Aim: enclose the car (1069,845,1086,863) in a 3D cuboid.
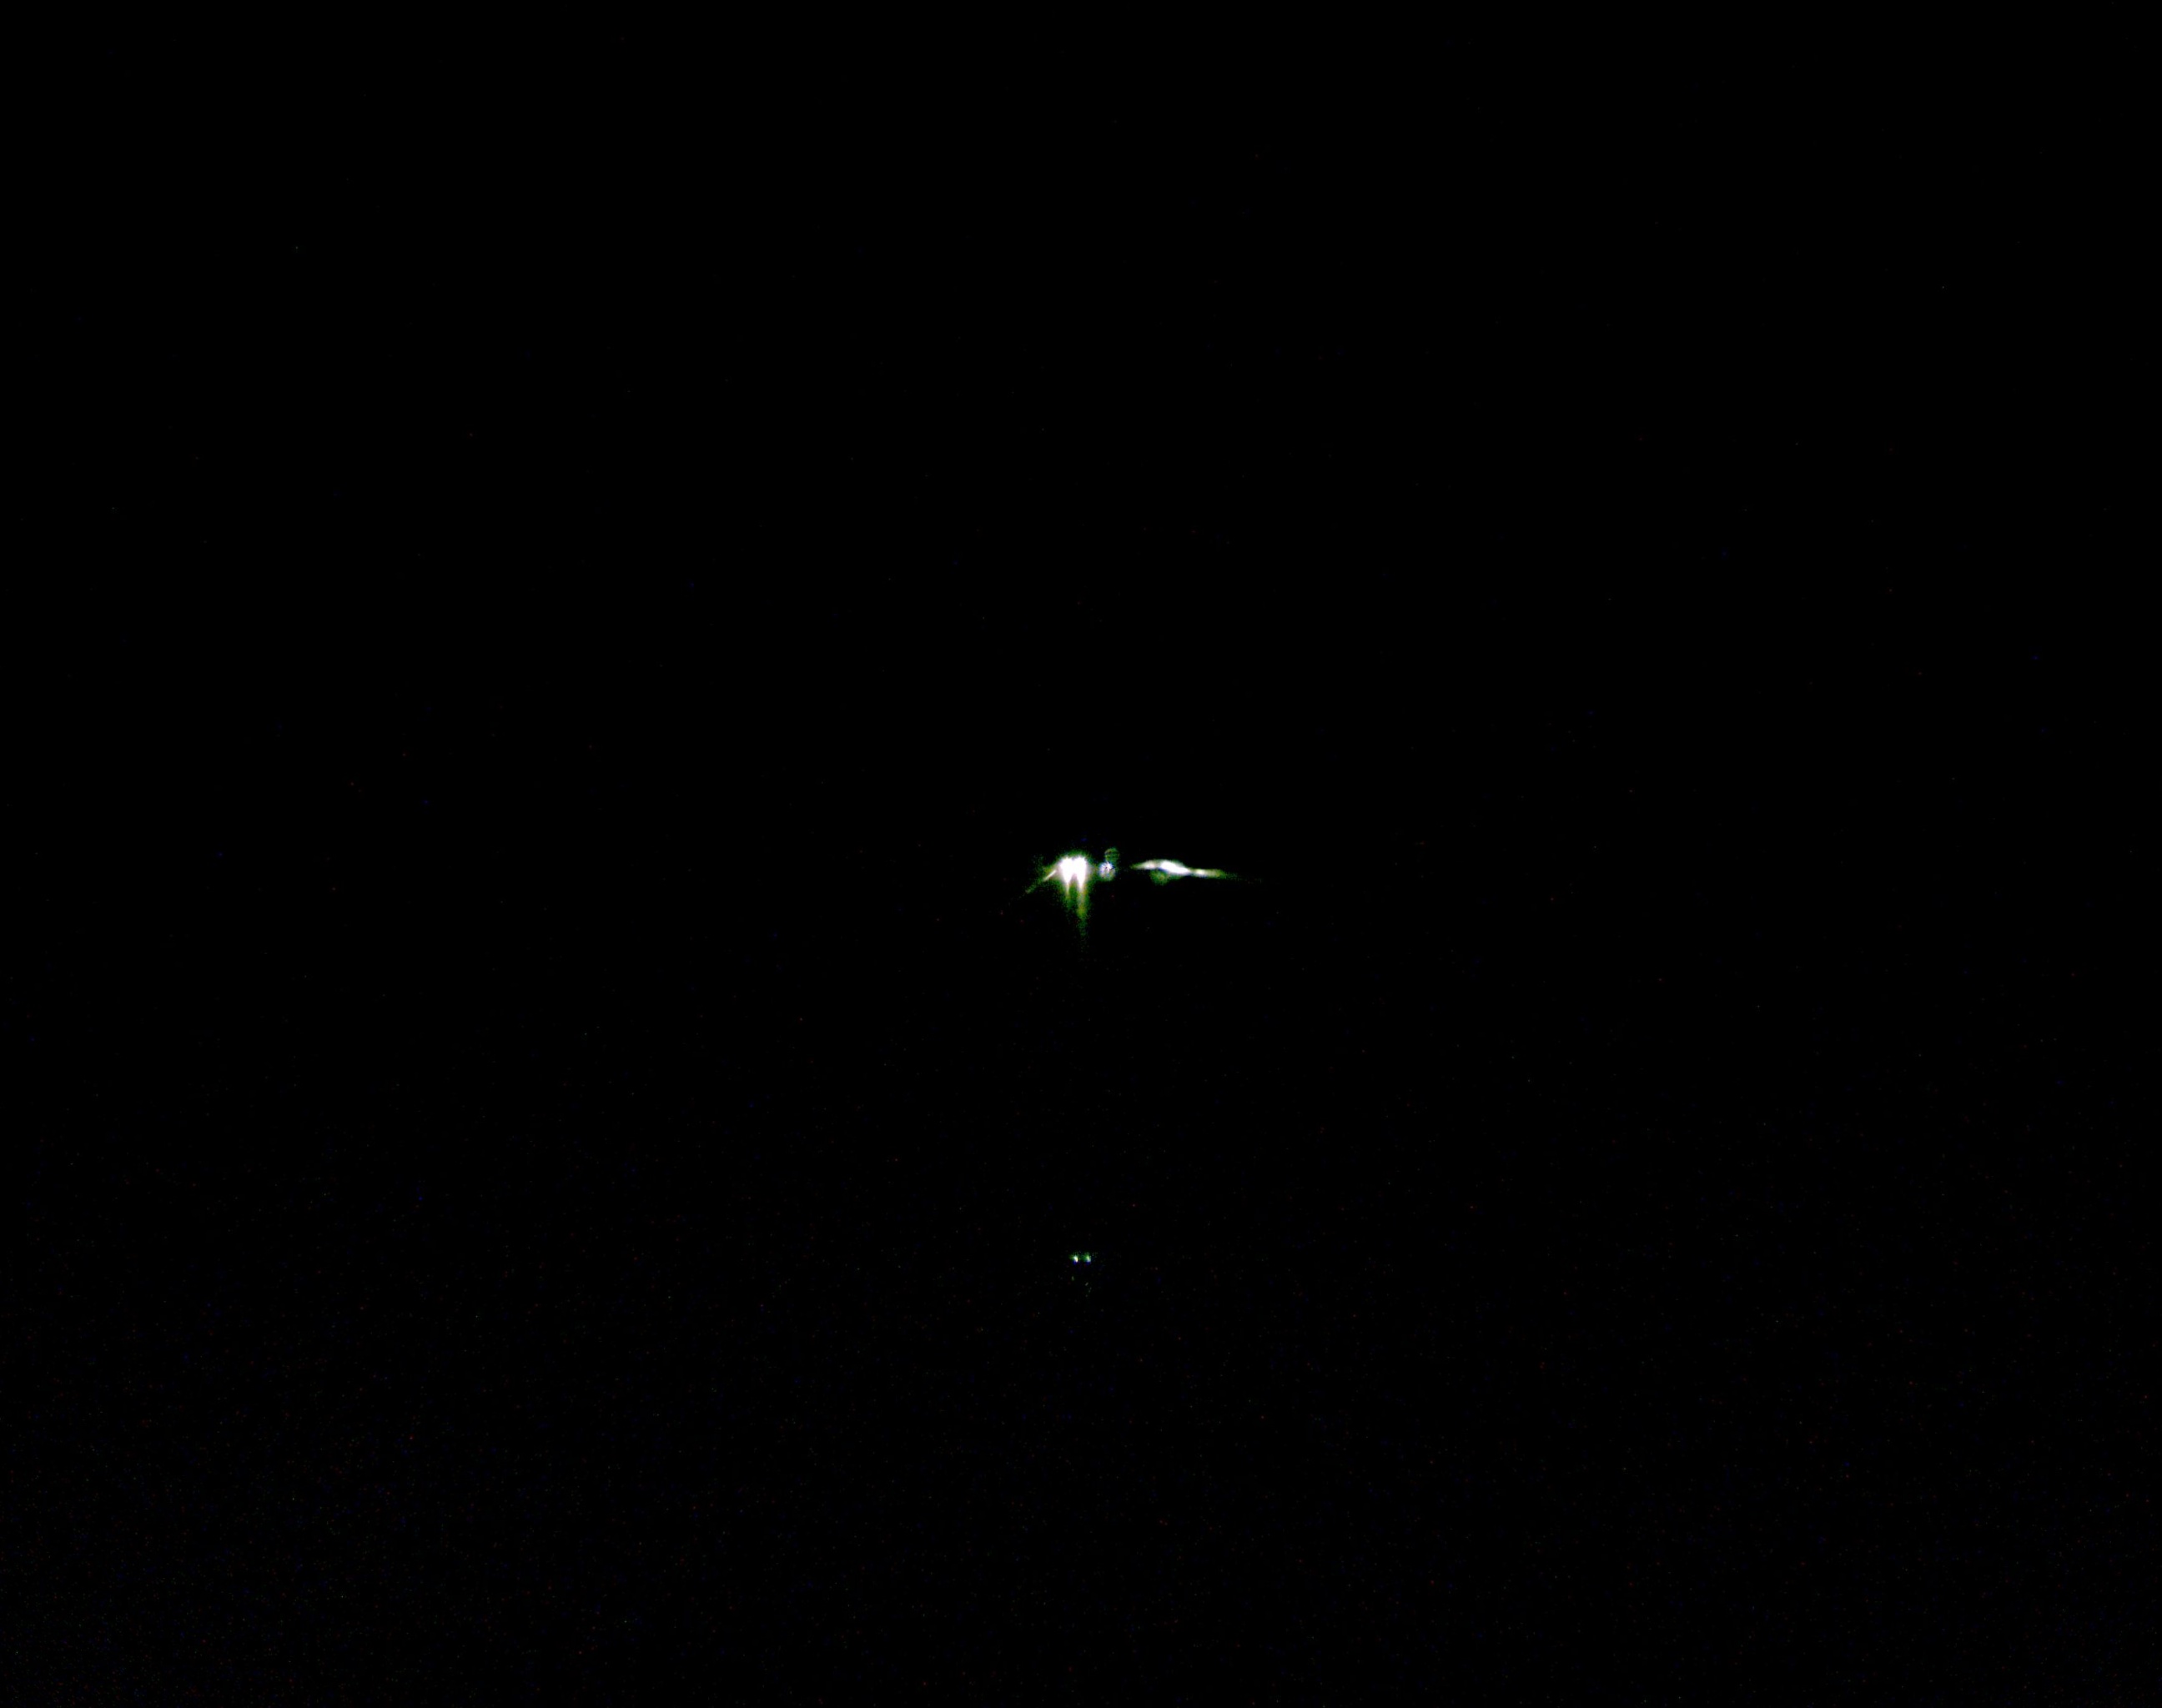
[{"bbox_3d":[-0.378,0.021,94.038,1.998,2.003,3.998,-2,3,0],"label":"car"}]
